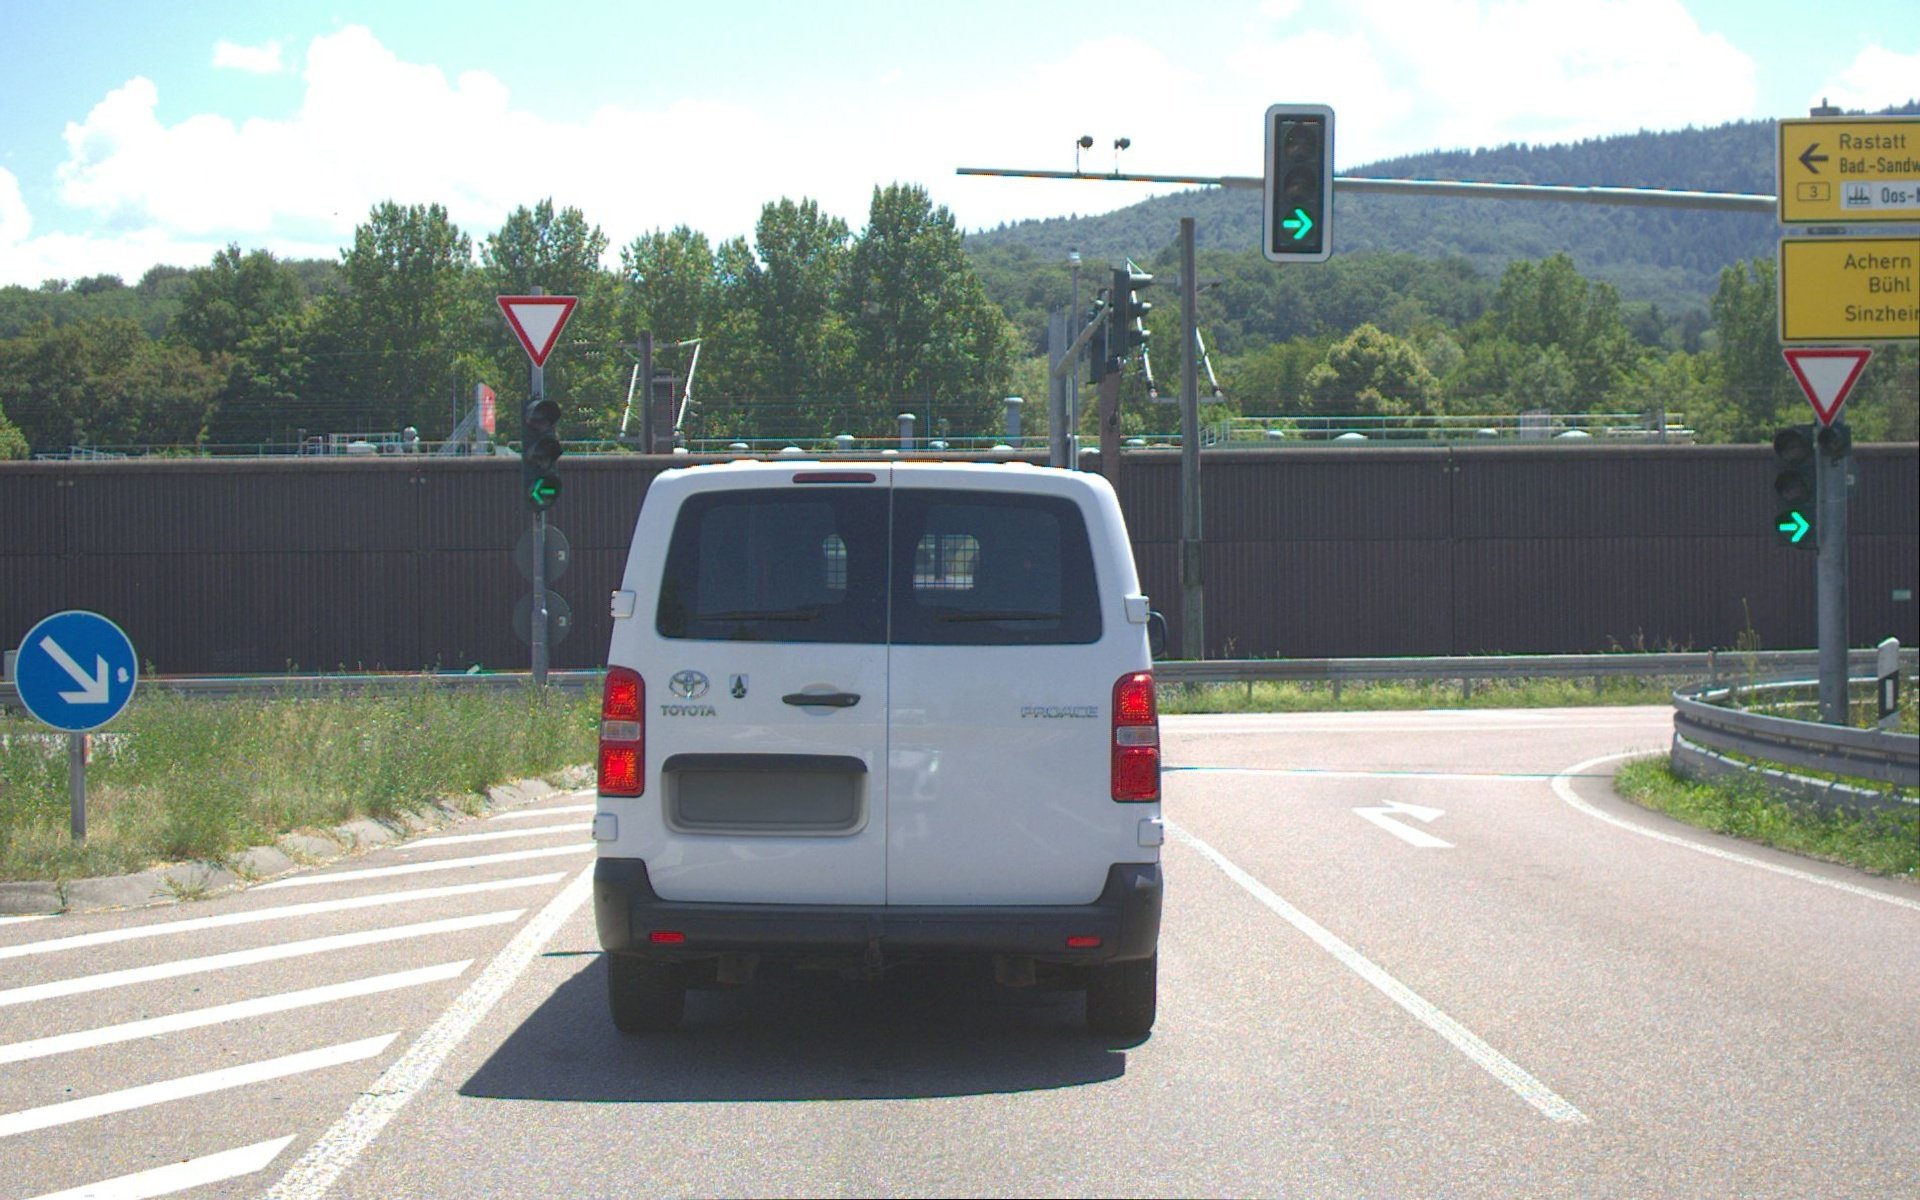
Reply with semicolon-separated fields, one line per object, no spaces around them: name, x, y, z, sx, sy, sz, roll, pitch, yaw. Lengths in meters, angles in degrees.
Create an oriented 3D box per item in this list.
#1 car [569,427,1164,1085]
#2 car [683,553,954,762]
car;-0.316;0.471;12.504;1.814;2.011;4.000;0;0;-1
car;-1.546;0.555;35.557;1.993;2.007;4.714;0;0;-13
